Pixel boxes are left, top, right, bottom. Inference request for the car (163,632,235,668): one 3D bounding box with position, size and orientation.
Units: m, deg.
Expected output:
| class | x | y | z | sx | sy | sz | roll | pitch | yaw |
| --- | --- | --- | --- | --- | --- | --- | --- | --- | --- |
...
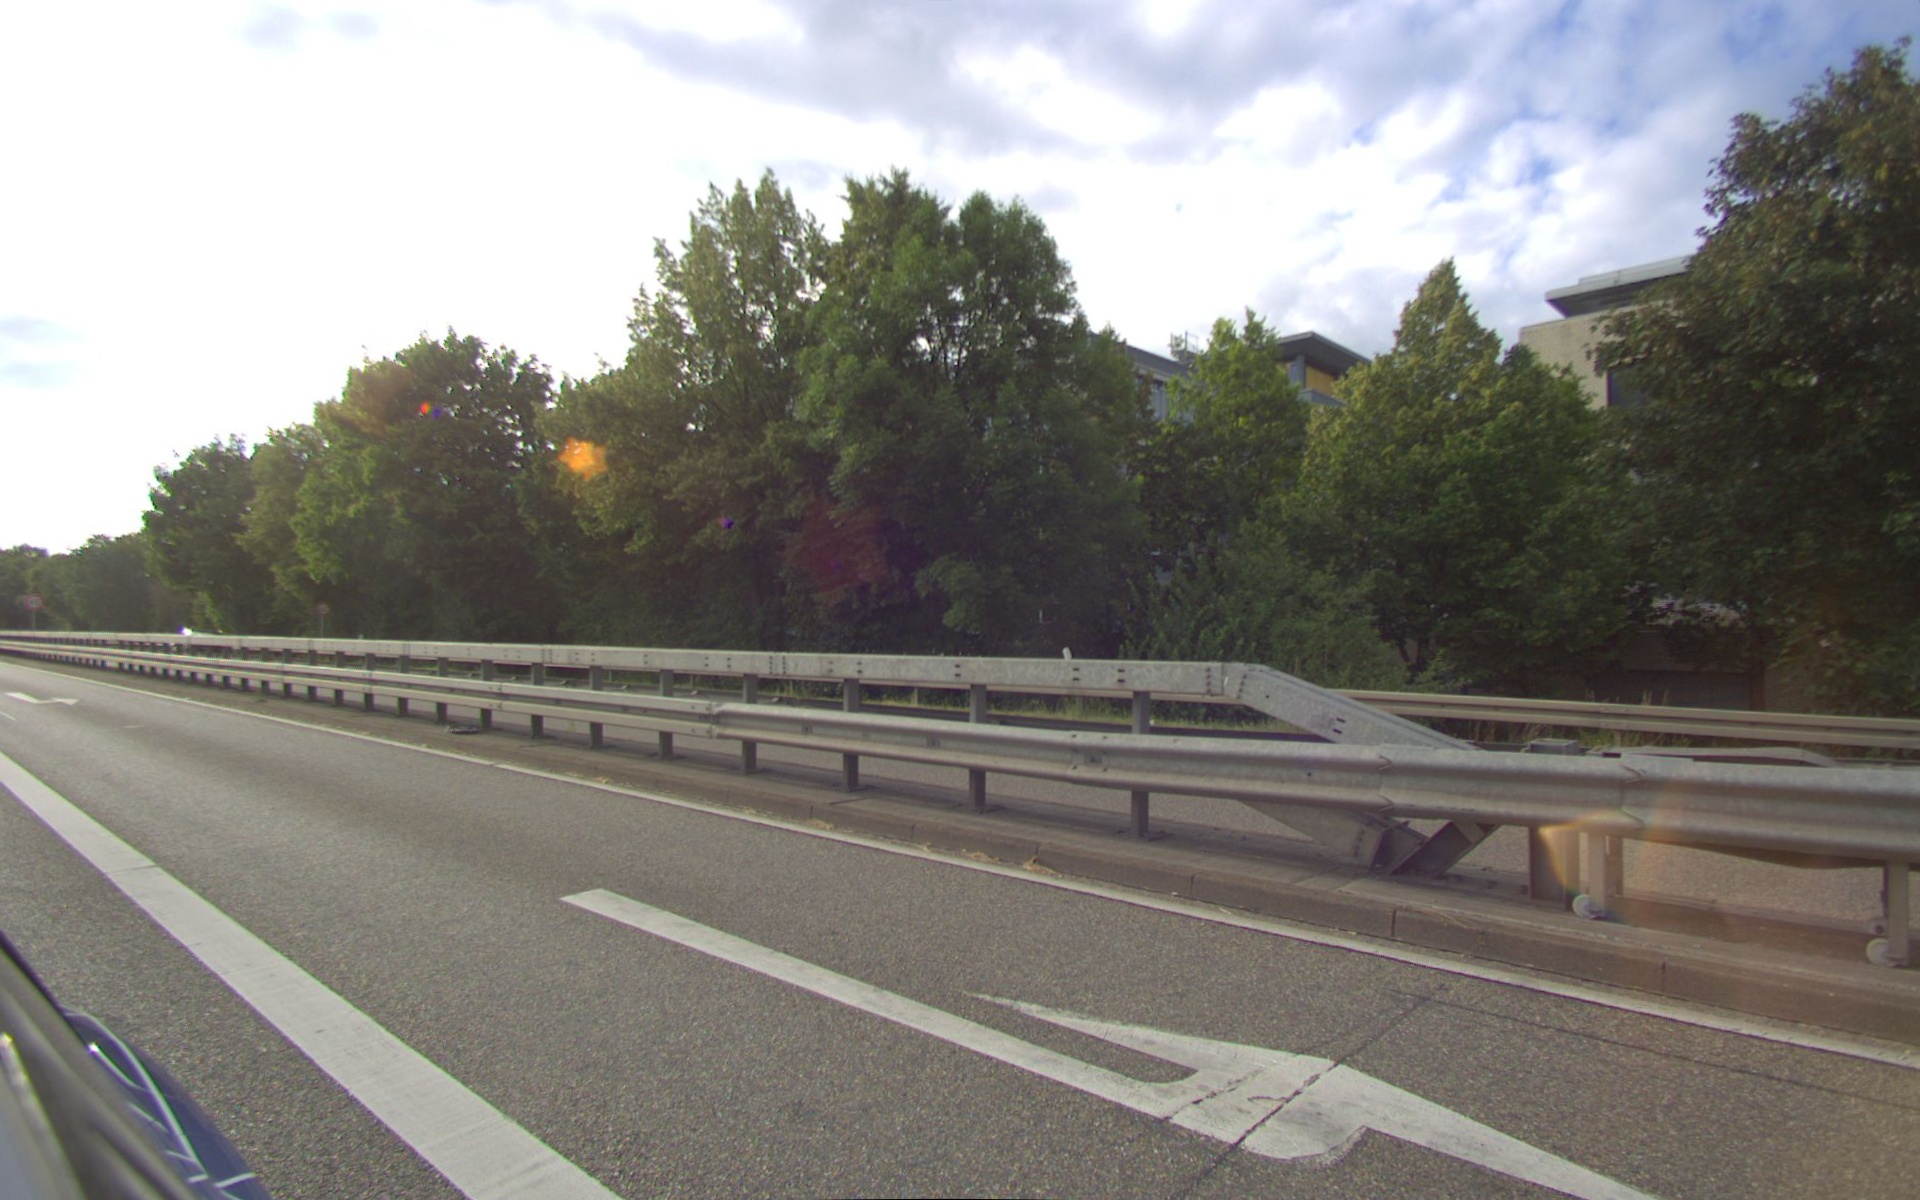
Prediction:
| class | x | y | z | sx | sy | sz | roll | pitch | yaw |
| --- | --- | --- | --- | --- | --- | --- | --- | --- | --- |
| car | -35.757 | 2.316 | 47.506 | 4.372 | 1.468 | 1.895 | -1 | 0 | 42 |
